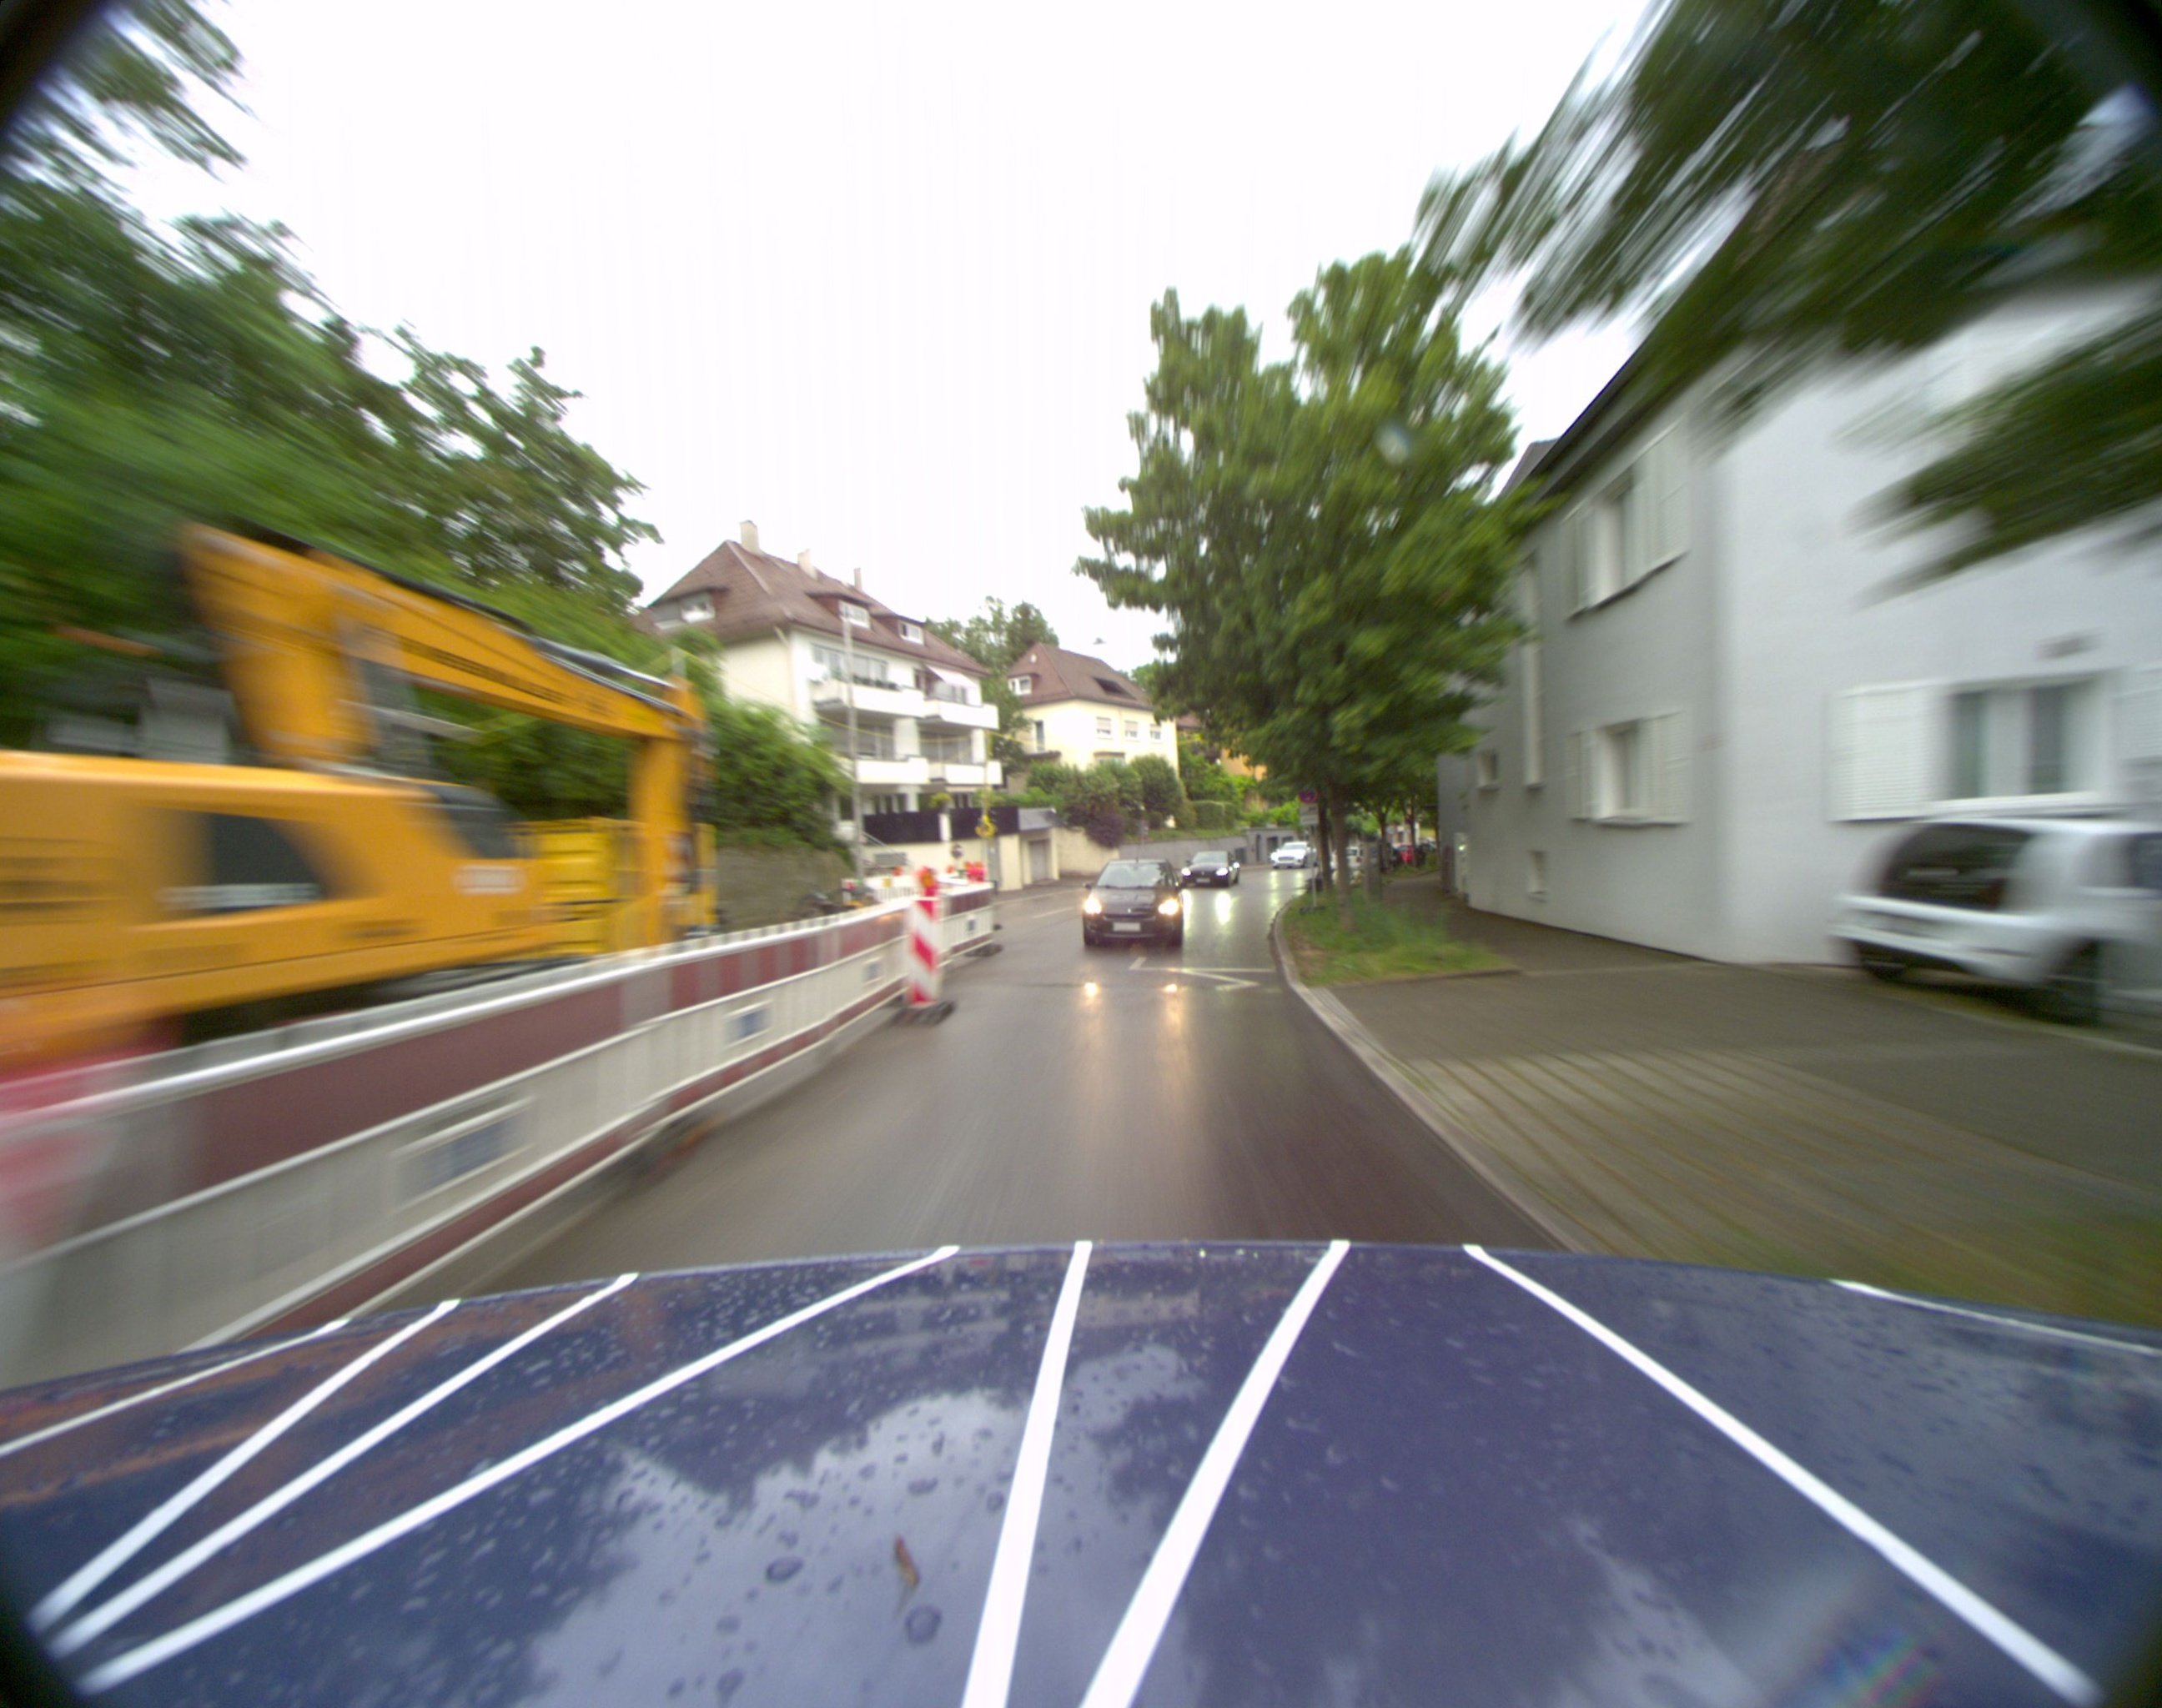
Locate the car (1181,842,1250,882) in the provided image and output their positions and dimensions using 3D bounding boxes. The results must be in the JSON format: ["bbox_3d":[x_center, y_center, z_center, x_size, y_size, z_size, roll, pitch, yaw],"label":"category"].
[{"bbox_3d":[5.560,0.305,31.033,1.804,1.480,4.023,-2,0,24],"label":"car"}]

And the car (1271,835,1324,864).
[{"bbox_3d":[13.519,-0.333,47.345,2.008,1.653,4.453,1,3,32],"label":"car"}]

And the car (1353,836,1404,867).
[{"bbox_3d":[17.125,-0.190,43.564,1.682,1.600,4.585,1,2,35],"label":"car"}]

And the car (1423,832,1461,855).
[{"bbox_3d":[26.175,-0.776,55.076,1.555,1.503,3.390,4,5,41],"label":"car"}]

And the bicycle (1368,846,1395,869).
[{"bbox_3d":[14.247,0.163,36.020,1.909,1.024,0.435,-3,2,-44],"label":"bicycle"}]

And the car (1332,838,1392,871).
[{"bbox_3d":[14.638,-0.021,39.439,1.682,1.500,4.324,2,3,38],"label":"car"}]

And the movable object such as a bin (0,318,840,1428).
[{"bbox_3d":[-4.897,0.041,5.788,2.825,3.991,7.330,-2,1,8],"label":"movable object such as a bin"}]

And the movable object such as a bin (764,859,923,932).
[{"bbox_3d":[-5.815,0.968,19.196,1.996,1.510,4.004,-2,0,13],"label":"movable object such as a bin"}]

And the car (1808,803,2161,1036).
[{"bbox_3d":[8.450,0.392,5.732,3.994,1.552,1.750,-1,2,9],"label":"car"}]

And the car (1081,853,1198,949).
[{"bbox_3d":[1.194,0.765,13.865,1.576,1.444,3.590,-2,0,13],"label":"car"}]

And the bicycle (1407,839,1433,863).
[{"bbox_3d":[18.184,-0.167,40.726,0.618,1.244,1.909,0,2,44],"label":"bicycle"}]
